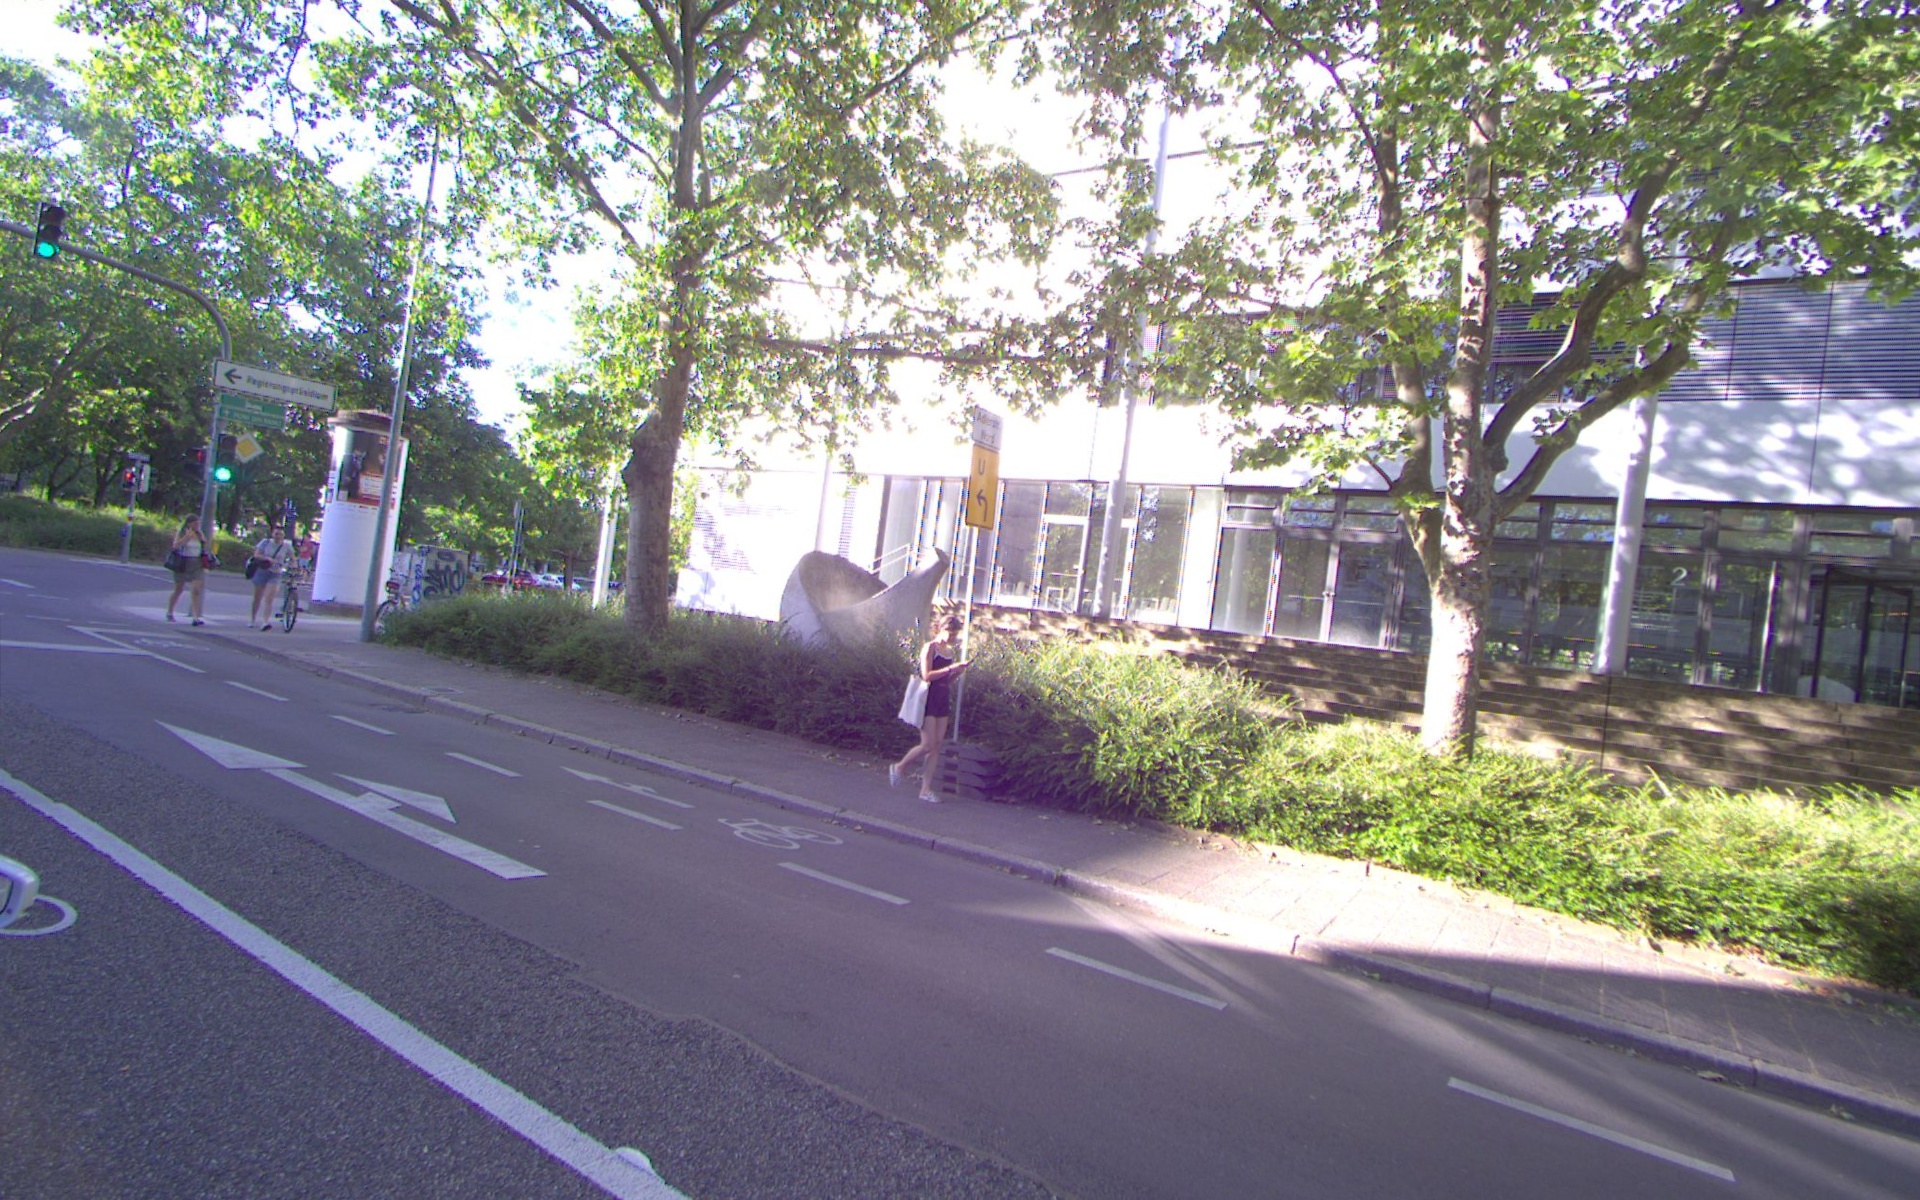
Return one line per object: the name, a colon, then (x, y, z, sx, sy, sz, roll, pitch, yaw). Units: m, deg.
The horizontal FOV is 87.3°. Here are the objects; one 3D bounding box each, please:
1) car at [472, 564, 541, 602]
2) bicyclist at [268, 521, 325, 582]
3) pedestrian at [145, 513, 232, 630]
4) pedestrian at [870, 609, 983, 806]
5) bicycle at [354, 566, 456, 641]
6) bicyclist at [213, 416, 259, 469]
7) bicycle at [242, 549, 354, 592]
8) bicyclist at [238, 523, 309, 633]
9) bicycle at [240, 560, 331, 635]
car: (-28.346, -1.076, 62.863, 3.935, 1.800, 1.997, 6, -2, 32)
bicyclist: (-22.462, -1.635, 34.086, 0.961, 1.829, 1.130, 6, -1, 30)
pedestrian: (-12.259, -0.446, 15.987, 0.681, 1.740, 0.774, 6, 0, 31)
pedestrian: (-0.295, 0.933, 8.904, 0.671, 1.612, 0.462, 6, -1, 32)
bicycle: (-9.640, 0.098, 17.555, 0.462, 1.196, 1.995, 7, -2, 3)
bicyclist: (-24.826, -5.379, 34.517, 0.942, 1.565, 1.118, 8, 1, -26)
bicycle: (-22.475, -0.984, 34.232, 0.926, 1.050, 3.004, 6, -2, 29)
bicyclist: (-11.361, -0.357, 16.646, 0.644, 1.734, 0.633, 5, -1, 31)
bicycle: (-11.129, -0.051, 16.579, 1.620, 1.047, 0.522, 6, -1, 32)
